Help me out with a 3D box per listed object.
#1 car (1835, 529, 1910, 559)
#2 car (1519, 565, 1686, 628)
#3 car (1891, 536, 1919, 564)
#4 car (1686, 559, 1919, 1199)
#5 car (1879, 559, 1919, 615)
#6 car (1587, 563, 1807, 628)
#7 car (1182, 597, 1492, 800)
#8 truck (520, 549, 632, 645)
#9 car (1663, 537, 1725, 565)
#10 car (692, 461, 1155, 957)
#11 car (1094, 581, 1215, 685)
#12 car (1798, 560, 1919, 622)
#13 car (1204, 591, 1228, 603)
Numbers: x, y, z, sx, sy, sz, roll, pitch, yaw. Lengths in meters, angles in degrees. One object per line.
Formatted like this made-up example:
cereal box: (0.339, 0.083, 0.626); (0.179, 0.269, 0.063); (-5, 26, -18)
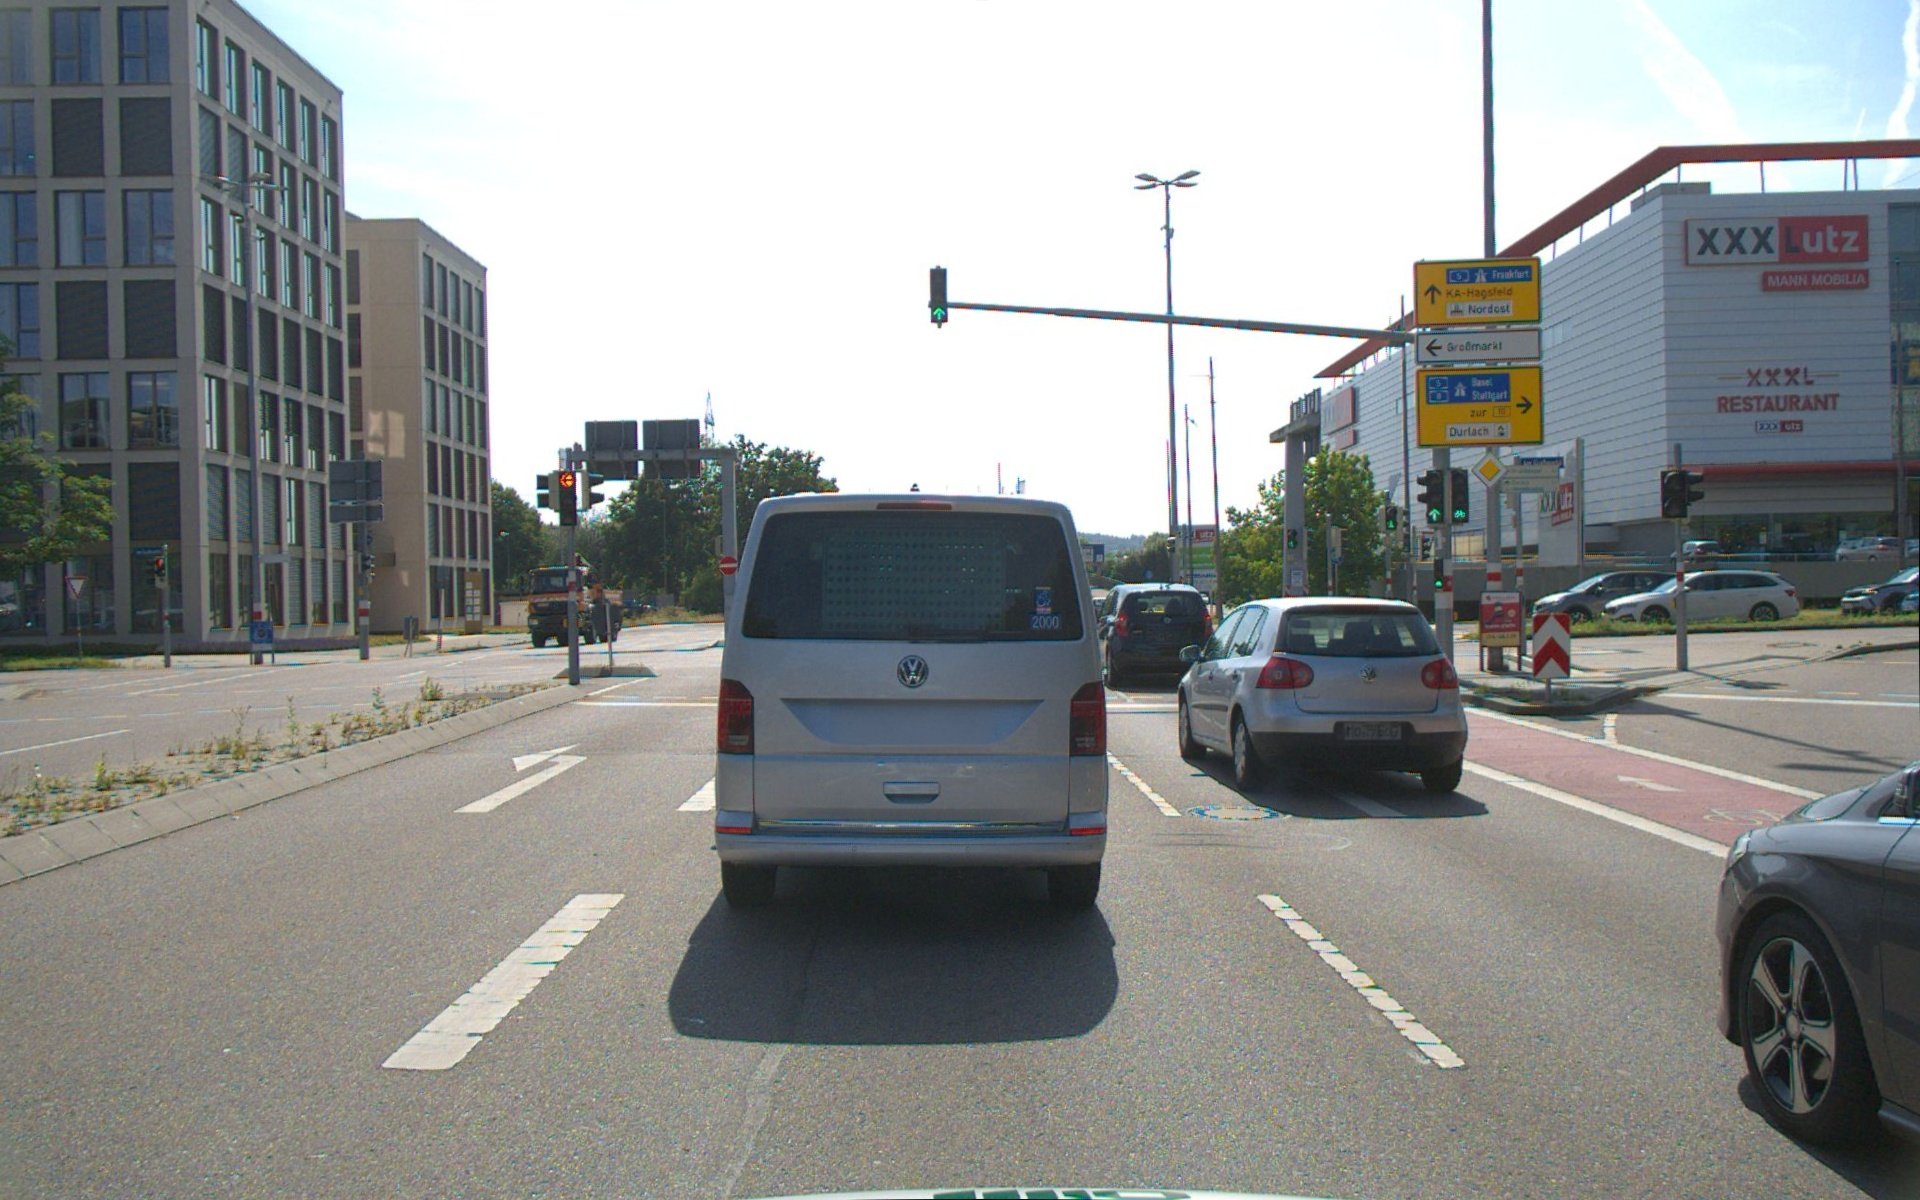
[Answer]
car: (48.803, -2.964, 88.553); (1.762, 1.444, 4.007); (-1, 0, -1)
car: (17.254, -0.093, 44.569); (3.803, 1.585, 1.809); (-1, 0, 3)
car: (51.496, -2.680, 87.839); (1.794, 1.444, 4.201); (-1, 0, 2)
car: (3.216, 0.690, 3.164); (1.738, 1.566, 4.136); (0, 1, -2)
car: (25.232, -0.355, 40.962); (3.960, 1.365, 1.724); (-1, -1, 1)
car: (18.436, -0.105, 41.533); (4.618, 1.450, 1.959); (-2, -1, 2)
car: (2.962, 0.704, 13.735); (1.633, 1.439, 3.681); (0, 0, -2)
truck: (-15.925, -0.147, 69.130); (2.690, 3.744, 7.581); (-2, 0, 1)
car: (41.577, -2.766, 93.760); (1.734, 1.444, 4.201); (-1, 0, 2)
car: (-0.183, 0.434, 8.885); (1.878, 2.010, 4.296); (0, 0, -1)
car: (2.978, 0.470, 25.828); (1.499, 1.505, 3.596); (0, 0, 0)
car: (24.788, -0.258, 44.003); (3.945, 1.535, 1.909); (-2, -1, 2)
car: (33.504, -0.346, 216.901); (1.957, 1.445, 3.991); (1, -1, -9)
